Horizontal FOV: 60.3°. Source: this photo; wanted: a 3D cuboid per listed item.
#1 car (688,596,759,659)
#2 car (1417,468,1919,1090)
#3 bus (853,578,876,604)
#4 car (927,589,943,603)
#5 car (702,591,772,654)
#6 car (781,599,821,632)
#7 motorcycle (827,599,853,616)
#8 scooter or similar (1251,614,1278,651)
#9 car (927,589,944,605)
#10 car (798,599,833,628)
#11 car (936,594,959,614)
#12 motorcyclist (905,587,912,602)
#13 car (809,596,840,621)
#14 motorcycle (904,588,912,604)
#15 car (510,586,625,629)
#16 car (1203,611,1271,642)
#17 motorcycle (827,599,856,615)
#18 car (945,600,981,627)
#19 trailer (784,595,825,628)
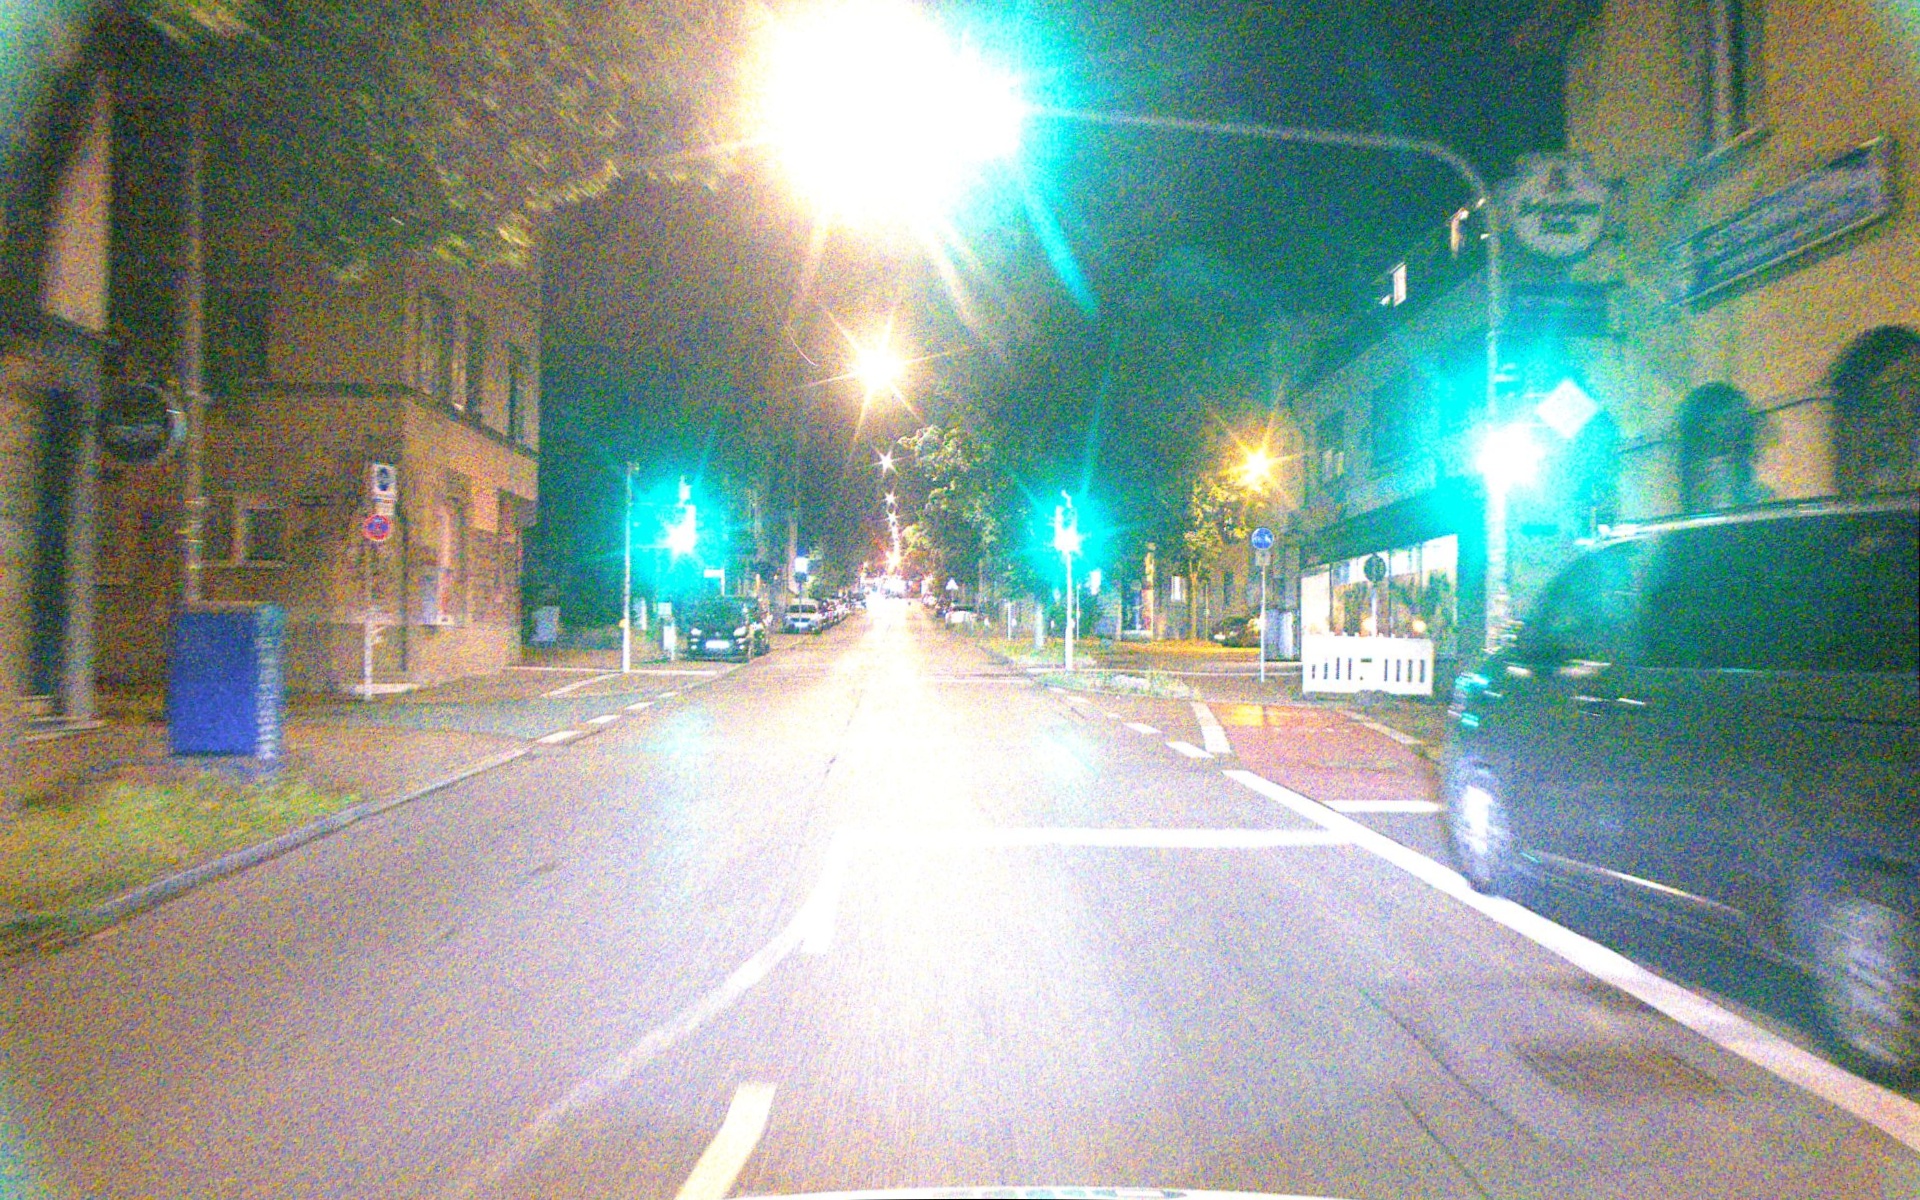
[{"bbox_3d":[-6.128,0.700,43.111,1.615,1.541,3.697,1,0,-6],"label":"car"},{"bbox_3d":[3.664,0.537,6.845,1.873,1.859,4.896,0,0,-4],"label":"car"},{"bbox_3d":[-12.595,-1.257,219.139,2.780,3.233,10.495,1,1,-2],"label":"bus"},{"bbox_3d":[-2.980,-0.455,194.930,1.831,1.553,4.148,-1,1,-2],"label":"car"},{"bbox_3d":[-6.491,0.621,48.498,1.812,1.679,4.666,1,1,-5],"label":"car"},{"bbox_3d":[-7.721,0.734,80.642,1.778,1.510,4.344,1,0,-4],"label":"car"},{"bbox_3d":[-8.801,0.546,121.486,0.710,1.167,2.173,-1,1,-44],"label":"motorcycle"},{"bbox_3d":[9.911,1.047,53.769,0.488,1.166,1.666,-2,-2,22],"label":"scooter or similar"},{"bbox_3d":[-2.720,-0.335,181.662,1.775,1.622,4.272,-1,1,-2],"label":"car"},{"bbox_3d":[-7.953,0.724,91.216,1.798,1.472,4.542,0,1,-3],"label":"car"},{"bbox_3d":[-1.042,0.330,132.806,1.727,1.502,4.079,-1,1,-2],"label":"car"},{"bbox_3d":[-6.061,-0.653,193.850,0.831,1.782,0.805,1,-1,-2],"label":"motorcyclist"},{"bbox_3d":[-8.579,0.552,104.859,1.826,1.518,4.278,1,0,-3],"label":"car"},{"bbox_3d":[-6.062,-0.469,193.847,0.912,1.782,2.624,1,-1,-2],"label":"motorcycle"},{"bbox_3d":[-15.173,0.294,64.084,3.902,1.450,1.763,3,0,8],"label":"car"},{"bbox_3d":[13.367,1.296,79.718,1.766,1.442,3.824,1,-1,35],"label":"car"},{"bbox_3d":[-8.820,0.496,123.504,2.161,1.150,0.714,0,1,31],"label":"motorcycle"},{"bbox_3d":[0.138,0.766,94.393,1.808,1.442,4.642,-3,0,-3],"label":"car"},{"bbox_3d":[-7.990,0.595,85.253,1.603,1.668,3.440,1,0,2],"label":"trailer"}]
